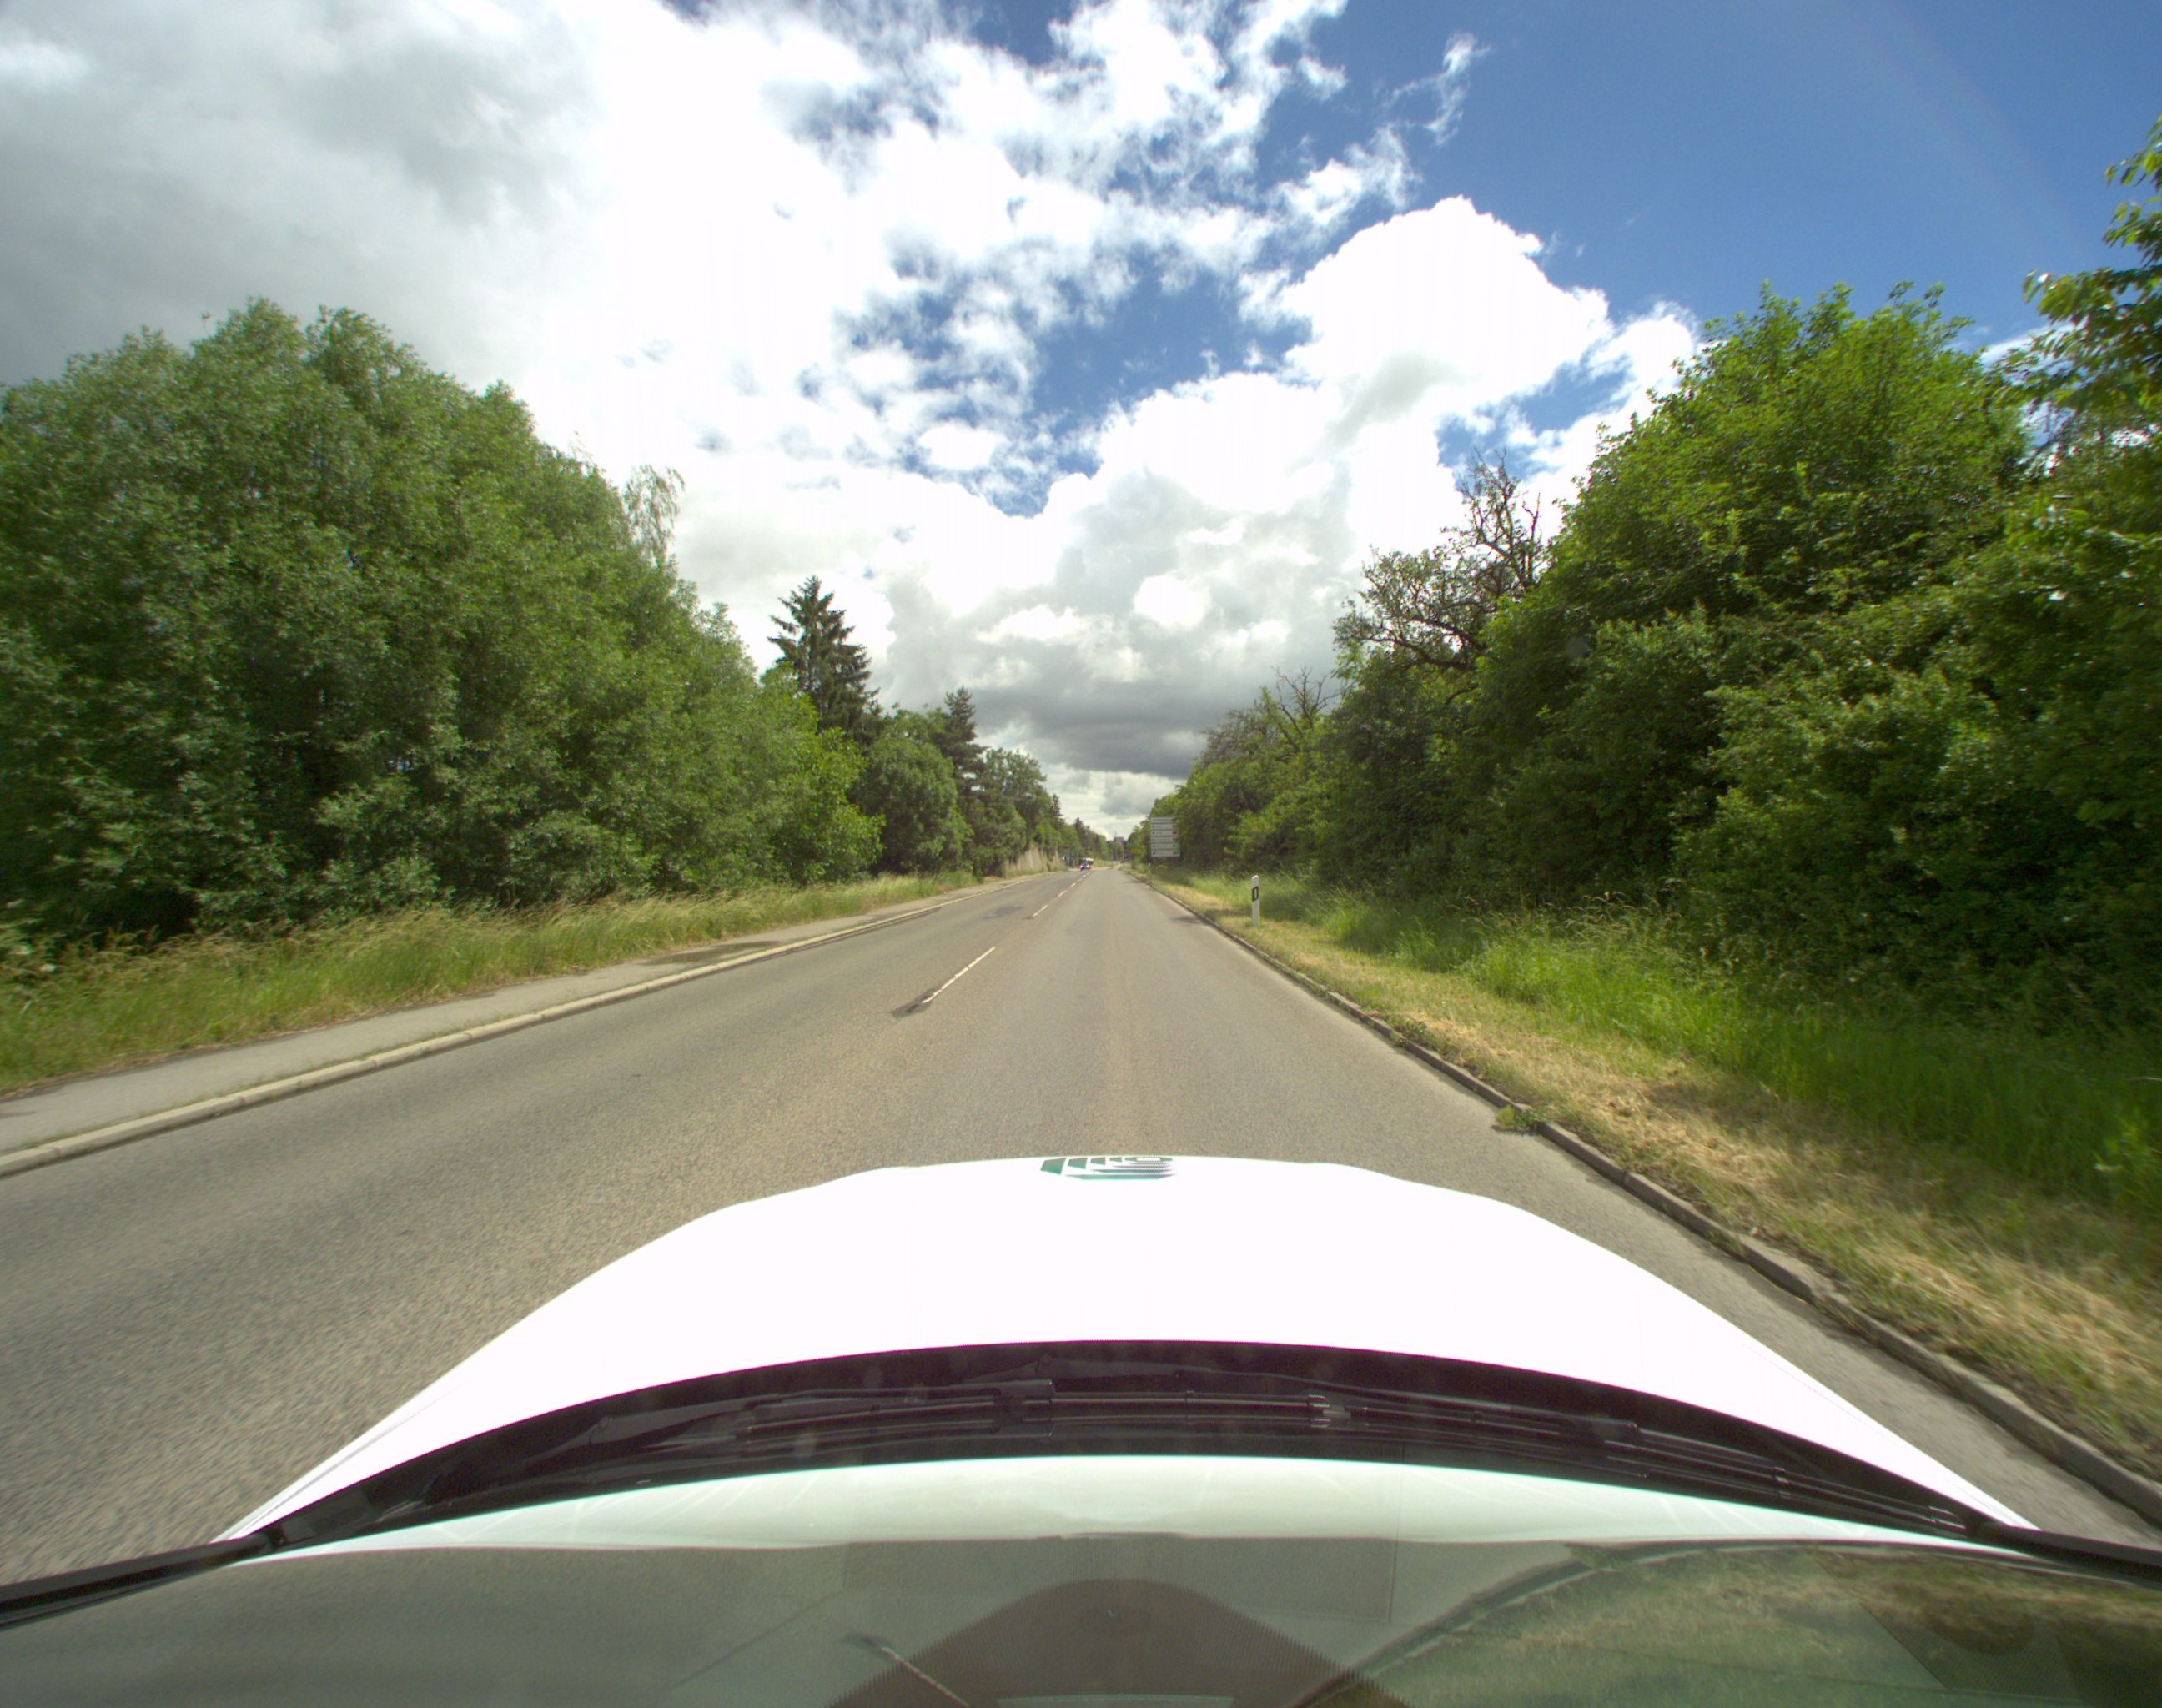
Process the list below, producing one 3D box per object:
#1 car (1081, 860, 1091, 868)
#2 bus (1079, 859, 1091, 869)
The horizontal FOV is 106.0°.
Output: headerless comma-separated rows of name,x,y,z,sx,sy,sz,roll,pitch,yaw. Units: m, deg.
car,1.000,1.976,160.309,1.745,1.464,4.001,-2,-1,1
bus,1.104,2.901,241.785,2.880,2.899,7.678,0,0,5
